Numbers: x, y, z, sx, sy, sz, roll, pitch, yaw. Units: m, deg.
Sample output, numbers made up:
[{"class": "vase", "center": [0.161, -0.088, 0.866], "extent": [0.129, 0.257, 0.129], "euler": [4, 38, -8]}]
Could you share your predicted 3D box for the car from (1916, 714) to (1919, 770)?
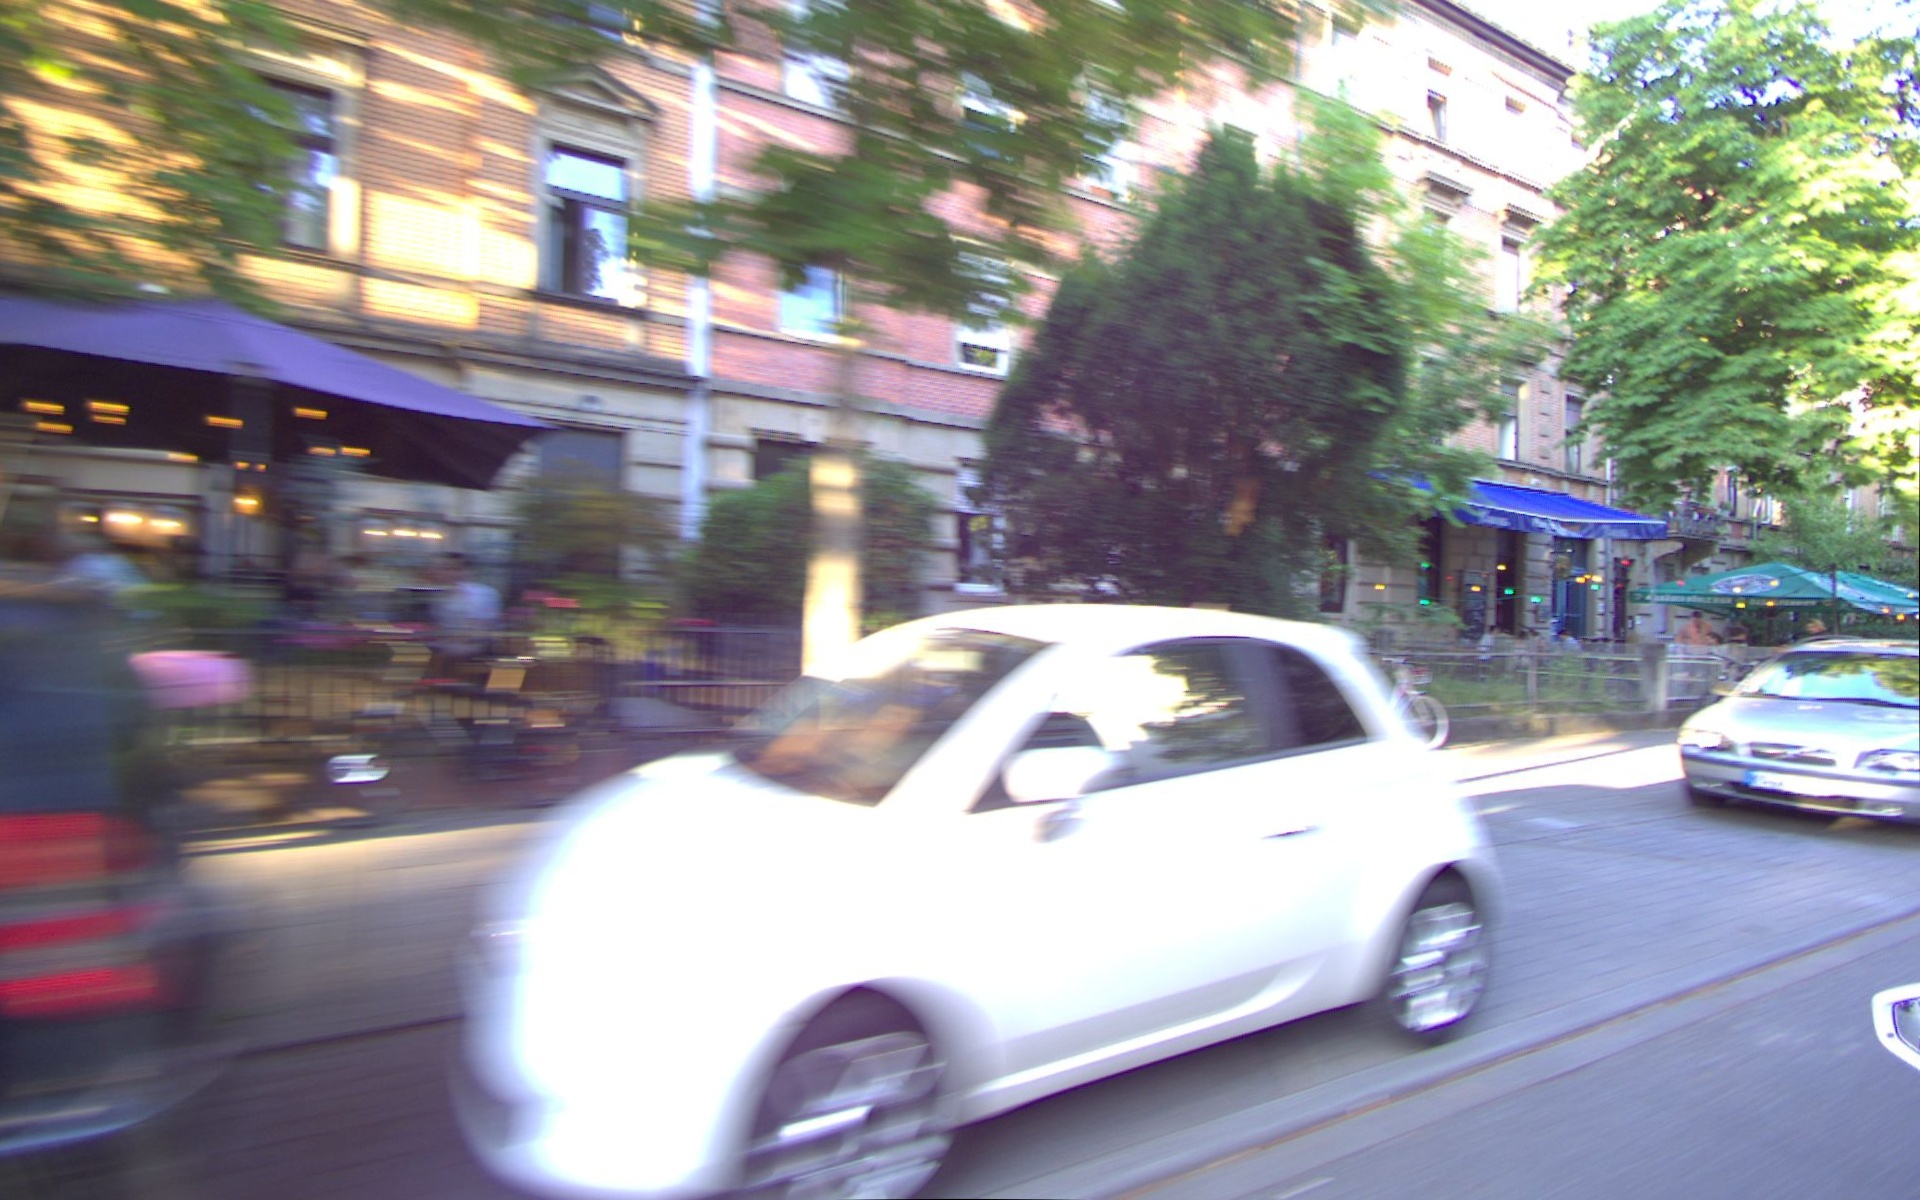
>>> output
[{"class": "car", "center": [12.460, 1.192, 11.174], "extent": [3.840, 1.455, 1.595], "euler": [2, 2, -30]}]

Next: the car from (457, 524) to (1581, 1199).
[{"class": "car", "center": [0.344, 0.624, 3.563], "extent": [3.669, 1.513, 1.655], "euler": [2, 2, -32]}]

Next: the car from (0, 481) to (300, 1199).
[{"class": "car", "center": [-3.257, 0.597, 1.415], "extent": [3.804, 1.700, 1.655], "euler": [1, 2, -32]}]

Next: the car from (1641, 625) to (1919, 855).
[{"class": "car", "center": [7.835, 1.001, 8.627], "extent": [4.556, 1.430, 1.827], "euler": [1, 2, -36]}]

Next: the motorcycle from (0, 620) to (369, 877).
[{"class": "motorcycle", "center": [-4.177, 0.729, 5.125], "extent": [1.927, 1.201, 0.390], "euler": [2, 1, -21]}]
